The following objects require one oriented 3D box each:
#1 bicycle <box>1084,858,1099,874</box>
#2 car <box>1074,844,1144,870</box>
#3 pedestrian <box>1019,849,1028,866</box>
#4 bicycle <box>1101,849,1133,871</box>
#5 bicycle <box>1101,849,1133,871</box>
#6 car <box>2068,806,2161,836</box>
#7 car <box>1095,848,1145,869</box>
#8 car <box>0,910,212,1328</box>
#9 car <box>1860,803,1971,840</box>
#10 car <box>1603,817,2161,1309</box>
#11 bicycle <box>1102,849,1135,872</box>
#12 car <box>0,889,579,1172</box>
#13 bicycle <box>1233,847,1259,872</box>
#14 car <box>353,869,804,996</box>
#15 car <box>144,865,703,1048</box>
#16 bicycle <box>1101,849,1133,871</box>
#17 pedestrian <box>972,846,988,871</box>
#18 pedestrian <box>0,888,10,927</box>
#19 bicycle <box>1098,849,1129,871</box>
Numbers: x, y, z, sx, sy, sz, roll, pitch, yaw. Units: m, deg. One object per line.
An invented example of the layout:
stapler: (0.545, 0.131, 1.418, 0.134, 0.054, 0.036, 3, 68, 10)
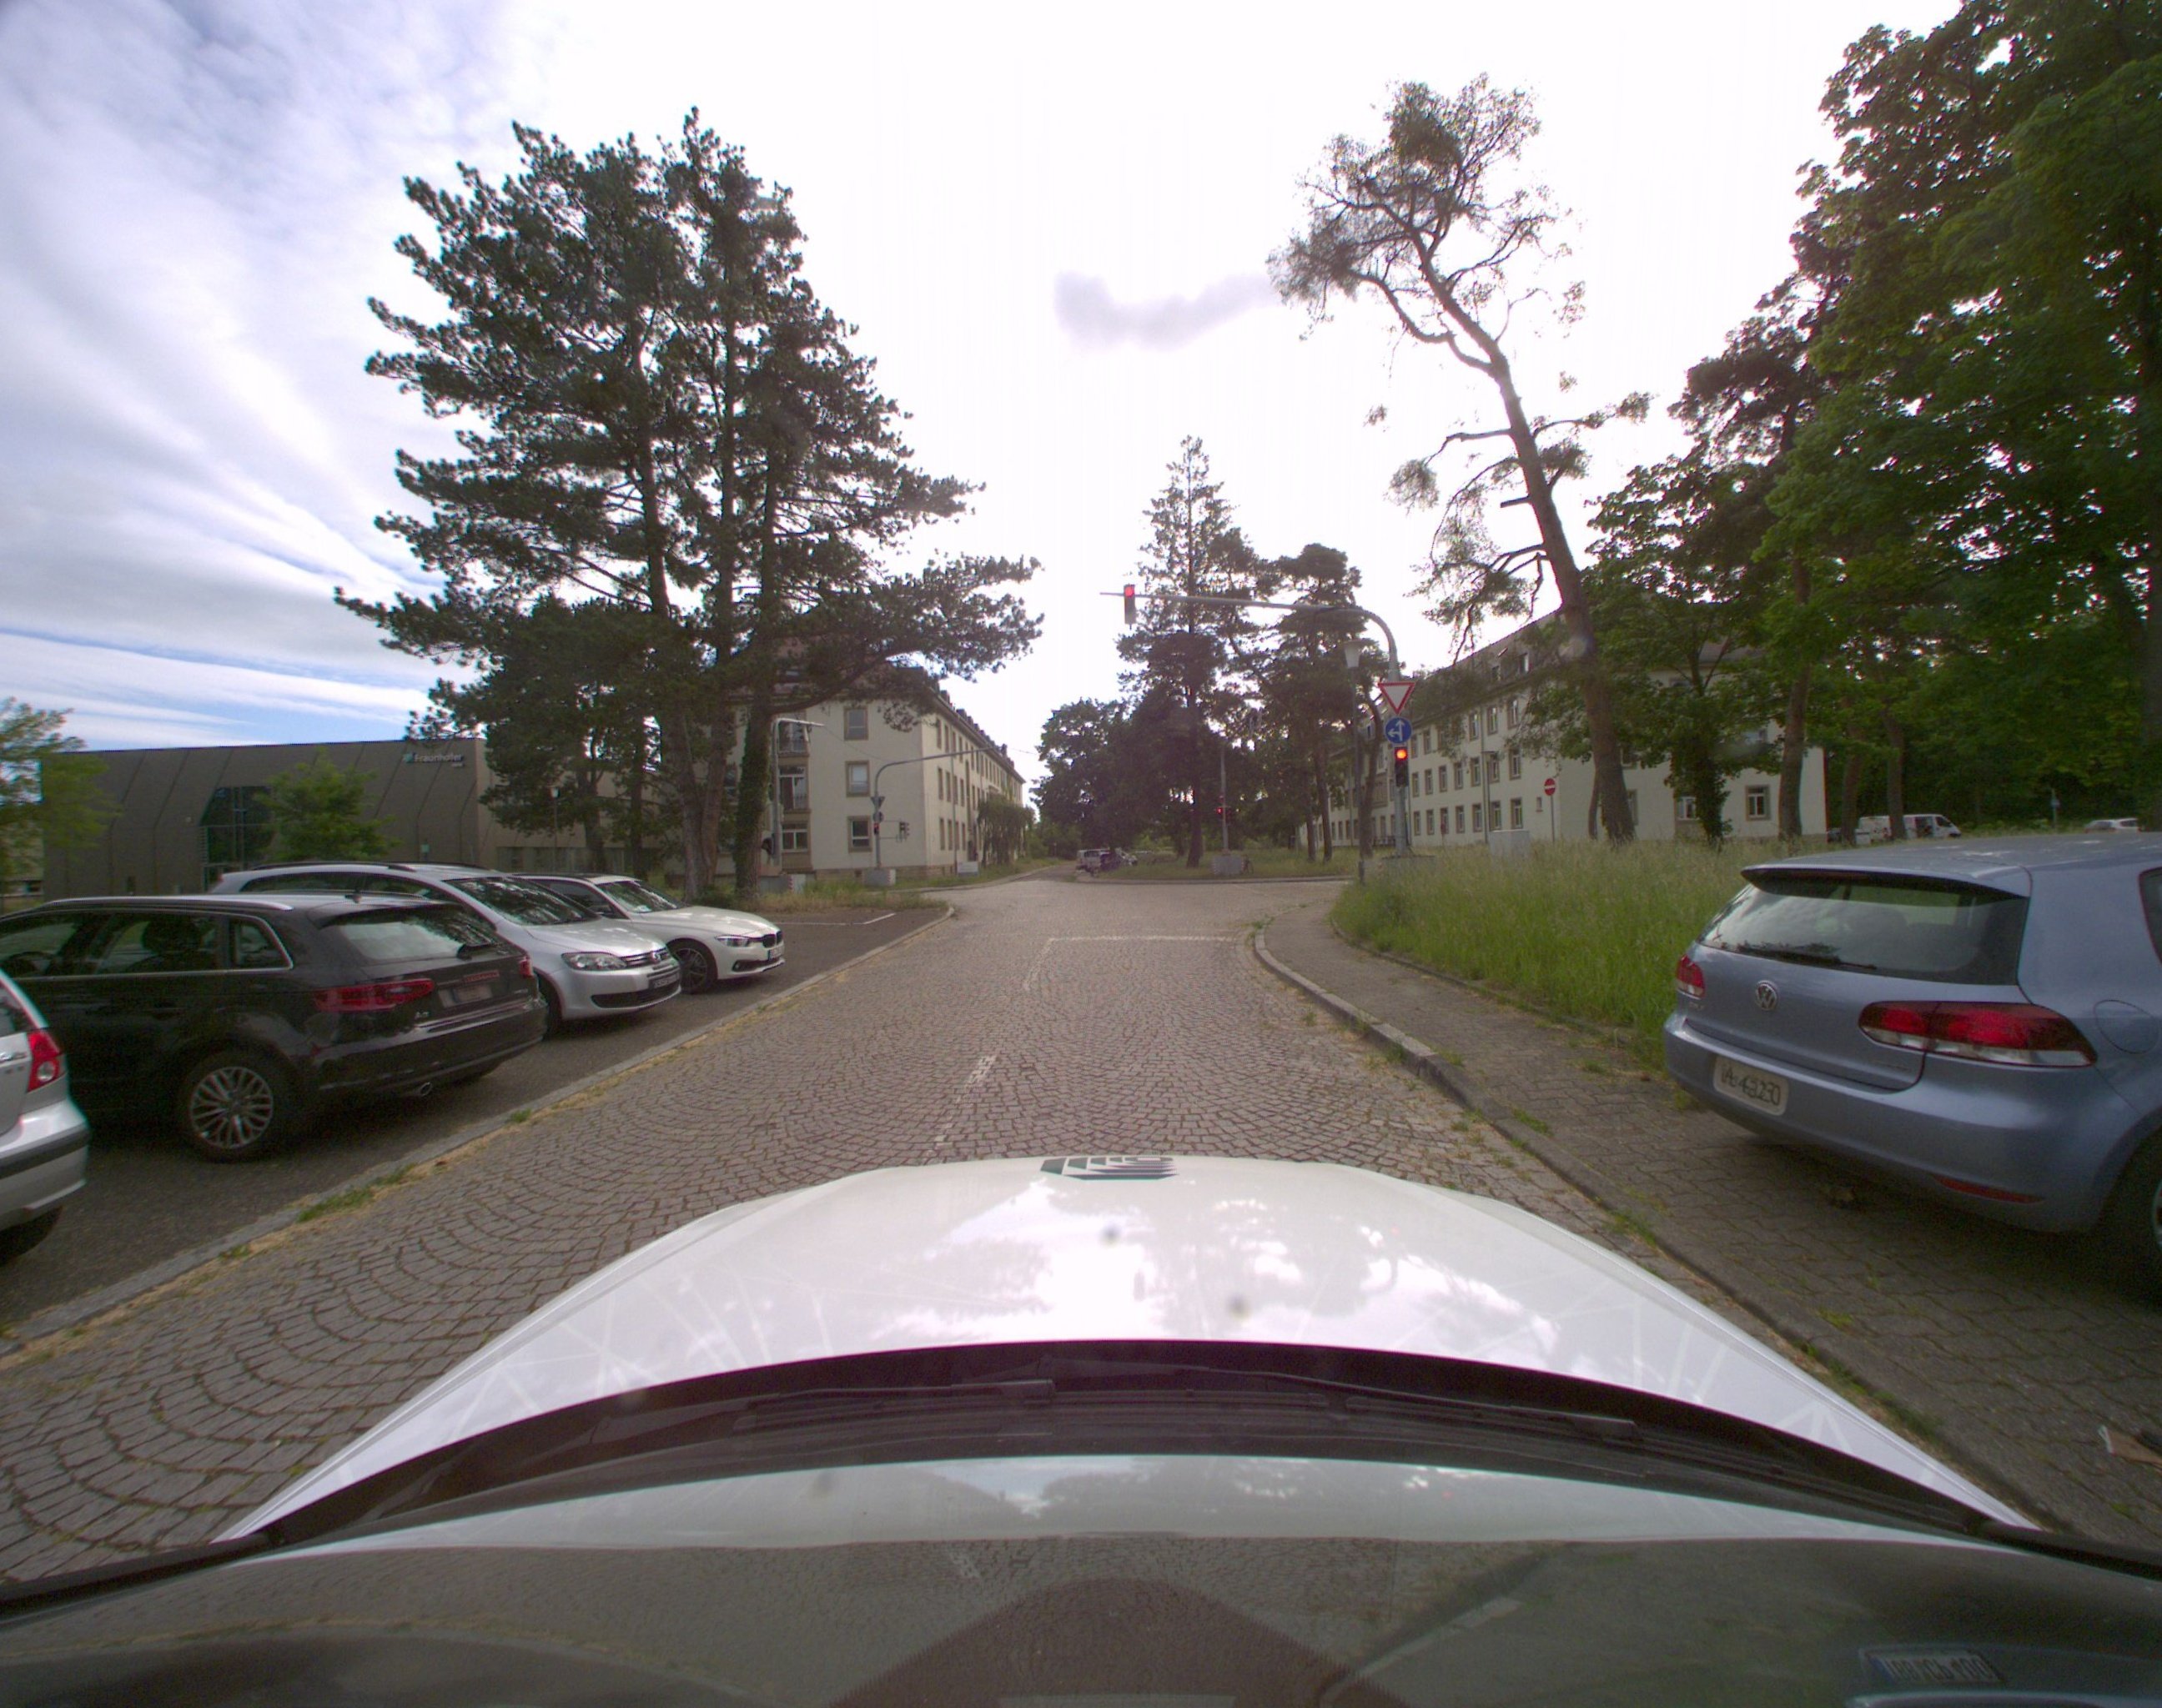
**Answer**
bicycle: (0.665, 0.742, 50.802, 0.614, 0.963, 2.081, -2, 0, 8)
car: (2.389, 0.261, 70.469, 5.694, 1.910, 2.222, -2, 0, -11)
pedestrian: (-7.049, 0.399, 99.924, 0.952, 2.013, 0.797, -2, 0, 11)
bicycle: (2.364, 0.394, 53.241, 2.062, 1.378, 0.620, -2, 0, 1)
bicycle: (2.377, 0.396, 53.866, 2.062, 1.378, 0.620, -2, 0, 1)
car: (57.841, -1.826, 45.248, 3.468, 1.507, 2.001, -2, 0, 2)
car: (3.197, 0.386, 67.083, 3.924, 1.544, 1.998, -2, 0, -4)
car: (-5.718, 0.979, 2.656, 3.670, 1.452, 1.806, 0, 0, -3)
car: (57.366, -2.212, 56.051, 5.160, 2.288, 2.215, -2, 0, 2)
car: (4.566, 0.596, 3.359, 3.750, 1.426, 1.606, -4, 1, 0)
bicycle: (2.390, 0.392, 52.569, 2.062, 1.378, 0.620, -2, 0, 1)
car: (-5.764, 0.978, 5.219, 3.974, 1.427, 1.751, 0, 0, 0)
bicycle: (8.133, 0.262, 40.191, 0.905, 1.177, 1.874, -2, 0, 1)
car: (-6.208, 0.933, 10.519, 4.636, 1.443, 1.800, 0, 0, -3)
car: (-6.129, 0.900, 8.013, 3.978, 1.547, 1.722, 0, 0, -4)
bicycle: (2.406, 0.398, 54.662, 2.062, 1.378, 0.620, -2, 0, 1)
pedestrian: (-8.466, 0.381, 68.270, 1.081, 2.013, 1.023, -2, 0, 6)
pedestrian: (-57.628, 2.866, 42.983, 0.898, 2.013, 0.919, -3, 0, -8)
bicycle: (2.200, 0.400, 55.465, 2.062, 1.378, 0.620, -2, 0, 1)
